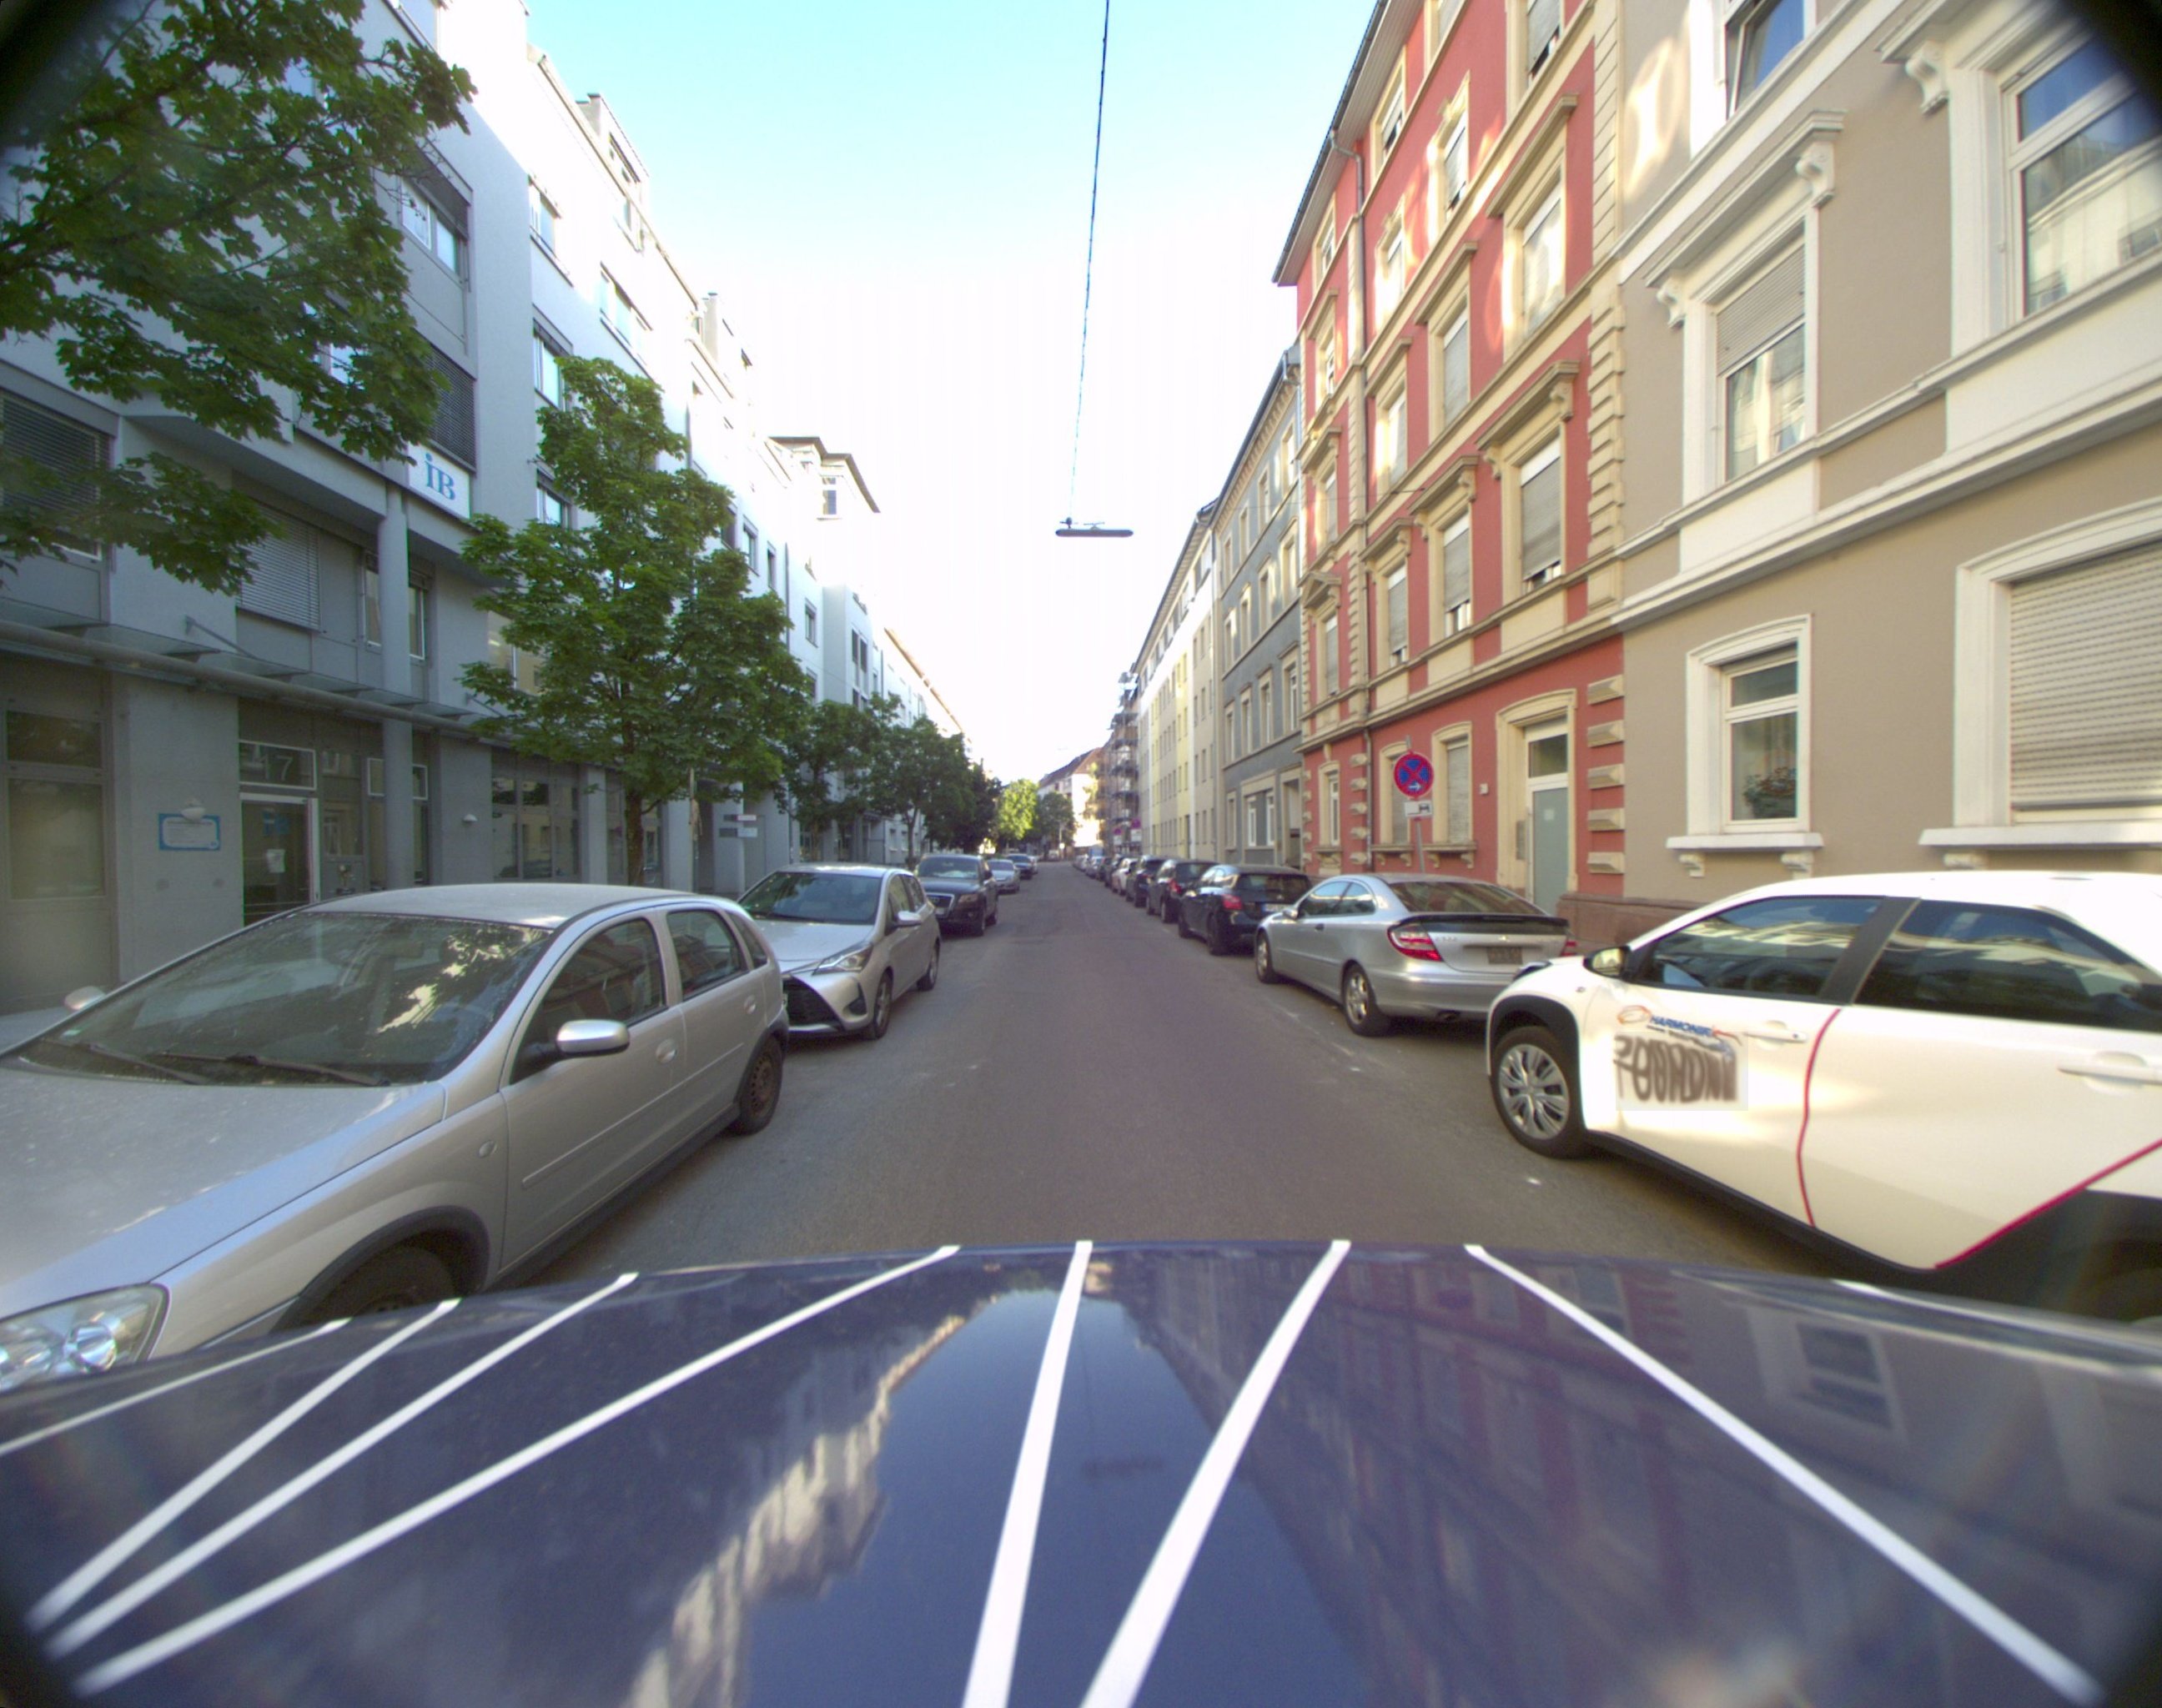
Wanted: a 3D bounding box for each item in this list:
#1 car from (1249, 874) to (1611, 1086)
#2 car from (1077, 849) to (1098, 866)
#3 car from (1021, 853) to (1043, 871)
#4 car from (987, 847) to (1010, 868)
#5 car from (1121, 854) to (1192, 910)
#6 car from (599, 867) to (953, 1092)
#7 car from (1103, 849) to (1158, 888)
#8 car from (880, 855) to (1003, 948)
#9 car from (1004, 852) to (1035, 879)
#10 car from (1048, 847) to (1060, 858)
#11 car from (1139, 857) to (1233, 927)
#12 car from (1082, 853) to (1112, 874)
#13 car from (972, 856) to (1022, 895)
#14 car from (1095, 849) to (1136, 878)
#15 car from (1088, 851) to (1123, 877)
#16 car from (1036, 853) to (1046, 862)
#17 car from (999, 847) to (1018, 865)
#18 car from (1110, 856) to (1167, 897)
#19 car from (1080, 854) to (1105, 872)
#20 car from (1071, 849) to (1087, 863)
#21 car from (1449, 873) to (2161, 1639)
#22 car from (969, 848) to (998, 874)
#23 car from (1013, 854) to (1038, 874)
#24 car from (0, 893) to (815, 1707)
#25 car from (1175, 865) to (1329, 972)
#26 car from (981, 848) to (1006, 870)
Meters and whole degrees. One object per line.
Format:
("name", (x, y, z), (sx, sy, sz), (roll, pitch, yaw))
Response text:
("car", (3.053, 1.006, 7.662), (1.614, 1.420, 3.960), (2, 0, -3))
("car", (0.670, 0.360, 80.252), (1.999, 1.783, 3.999), (-1, 0, -2))
("car", (-4.458, 0.697, 69.552), (1.856, 1.480, 3.998), (-1, 0, -3))
("car", (-8.243, 0.360, 75.879), (1.999, 2.002, 3.998), (-1, 0, -3))
("car", (2.306, 0.813, 24.197), (1.598, 1.513, 4.428), (-1, 1, -3))
("car", (-2.639, 0.986, 7.742), (1.913, 1.576, 4.000), (-1, 0, 1))
("car", (2.206, 0.598, 35.246), (1.999, 1.640, 4.492), (-1, 1, -3))
("car", (-2.877, 0.910, 16.634), (1.863, 1.679, 4.389), (-1, 0, 0))
("car", (-3.970, 0.701, 49.343), (1.856, 1.649, 3.998), (-1, 0, -4))
("car", (-4.717, -0.239, 132.545), (1.999, 1.783, 3.999), (-1, 0, -2))
("car", (2.525, 0.871, 19.192), (1.537, 1.490, 4.194), (1, 1, -3))
("car", (1.120, 0.675, 55.131), (1.999, 1.437, 3.999), (-1, 0, -2))
("car", (-3.566, 0.883, 32.867), (1.856, 1.480, 3.998), (-1, 0, -3))
("car", (1.983, 0.533, 45.163), (1.999, 1.576, 4.492), (-1, 1, -3))
("car", (1.564, 0.605, 49.853), (1.999, 1.566, 4.148), (-1, 0, -2))
("car", (-7.117, 0.606, 135.822), (1.703, 1.537, 3.828), (-2, 1, -3))
("car", (-8.398, 0.225, 88.602), (1.999, 2.002, 3.998), (-1, 0, -3))
("car", (2.199, 0.823, 30.131), (1.662, 1.420, 4.351), (-1, 1, -4))
("car", (1.029, 0.785, 70.014), (1.999, 1.576, 4.492), (-1, 1, -3))
("car", (-0.344, 0.269, 102.592), (1.999, 1.783, 3.999), (-1, 0, -2))
("car", (3.122, 0.919, 2.686), (1.688, 1.487, 3.843), (3, 1, 0))
("car", (-7.892, 0.550, 61.895), (1.999, 2.002, 3.998), (-1, 0, -3))
("car", (-4.445, 0.764, 61.795), (1.903, 1.510, 4.222), (-1, 0, -3))
("car", (-2.670, 1.013, 3.142), (1.638, 1.439, 4.066), (-1, 0, 1))
("car", (2.747, 0.975, 13.068), (1.589, 1.407, 3.911), (3, 0, -2))
("car", (-8.173, 0.455, 71.390), (1.999, 2.002, 3.998), (-1, 0, -3))
